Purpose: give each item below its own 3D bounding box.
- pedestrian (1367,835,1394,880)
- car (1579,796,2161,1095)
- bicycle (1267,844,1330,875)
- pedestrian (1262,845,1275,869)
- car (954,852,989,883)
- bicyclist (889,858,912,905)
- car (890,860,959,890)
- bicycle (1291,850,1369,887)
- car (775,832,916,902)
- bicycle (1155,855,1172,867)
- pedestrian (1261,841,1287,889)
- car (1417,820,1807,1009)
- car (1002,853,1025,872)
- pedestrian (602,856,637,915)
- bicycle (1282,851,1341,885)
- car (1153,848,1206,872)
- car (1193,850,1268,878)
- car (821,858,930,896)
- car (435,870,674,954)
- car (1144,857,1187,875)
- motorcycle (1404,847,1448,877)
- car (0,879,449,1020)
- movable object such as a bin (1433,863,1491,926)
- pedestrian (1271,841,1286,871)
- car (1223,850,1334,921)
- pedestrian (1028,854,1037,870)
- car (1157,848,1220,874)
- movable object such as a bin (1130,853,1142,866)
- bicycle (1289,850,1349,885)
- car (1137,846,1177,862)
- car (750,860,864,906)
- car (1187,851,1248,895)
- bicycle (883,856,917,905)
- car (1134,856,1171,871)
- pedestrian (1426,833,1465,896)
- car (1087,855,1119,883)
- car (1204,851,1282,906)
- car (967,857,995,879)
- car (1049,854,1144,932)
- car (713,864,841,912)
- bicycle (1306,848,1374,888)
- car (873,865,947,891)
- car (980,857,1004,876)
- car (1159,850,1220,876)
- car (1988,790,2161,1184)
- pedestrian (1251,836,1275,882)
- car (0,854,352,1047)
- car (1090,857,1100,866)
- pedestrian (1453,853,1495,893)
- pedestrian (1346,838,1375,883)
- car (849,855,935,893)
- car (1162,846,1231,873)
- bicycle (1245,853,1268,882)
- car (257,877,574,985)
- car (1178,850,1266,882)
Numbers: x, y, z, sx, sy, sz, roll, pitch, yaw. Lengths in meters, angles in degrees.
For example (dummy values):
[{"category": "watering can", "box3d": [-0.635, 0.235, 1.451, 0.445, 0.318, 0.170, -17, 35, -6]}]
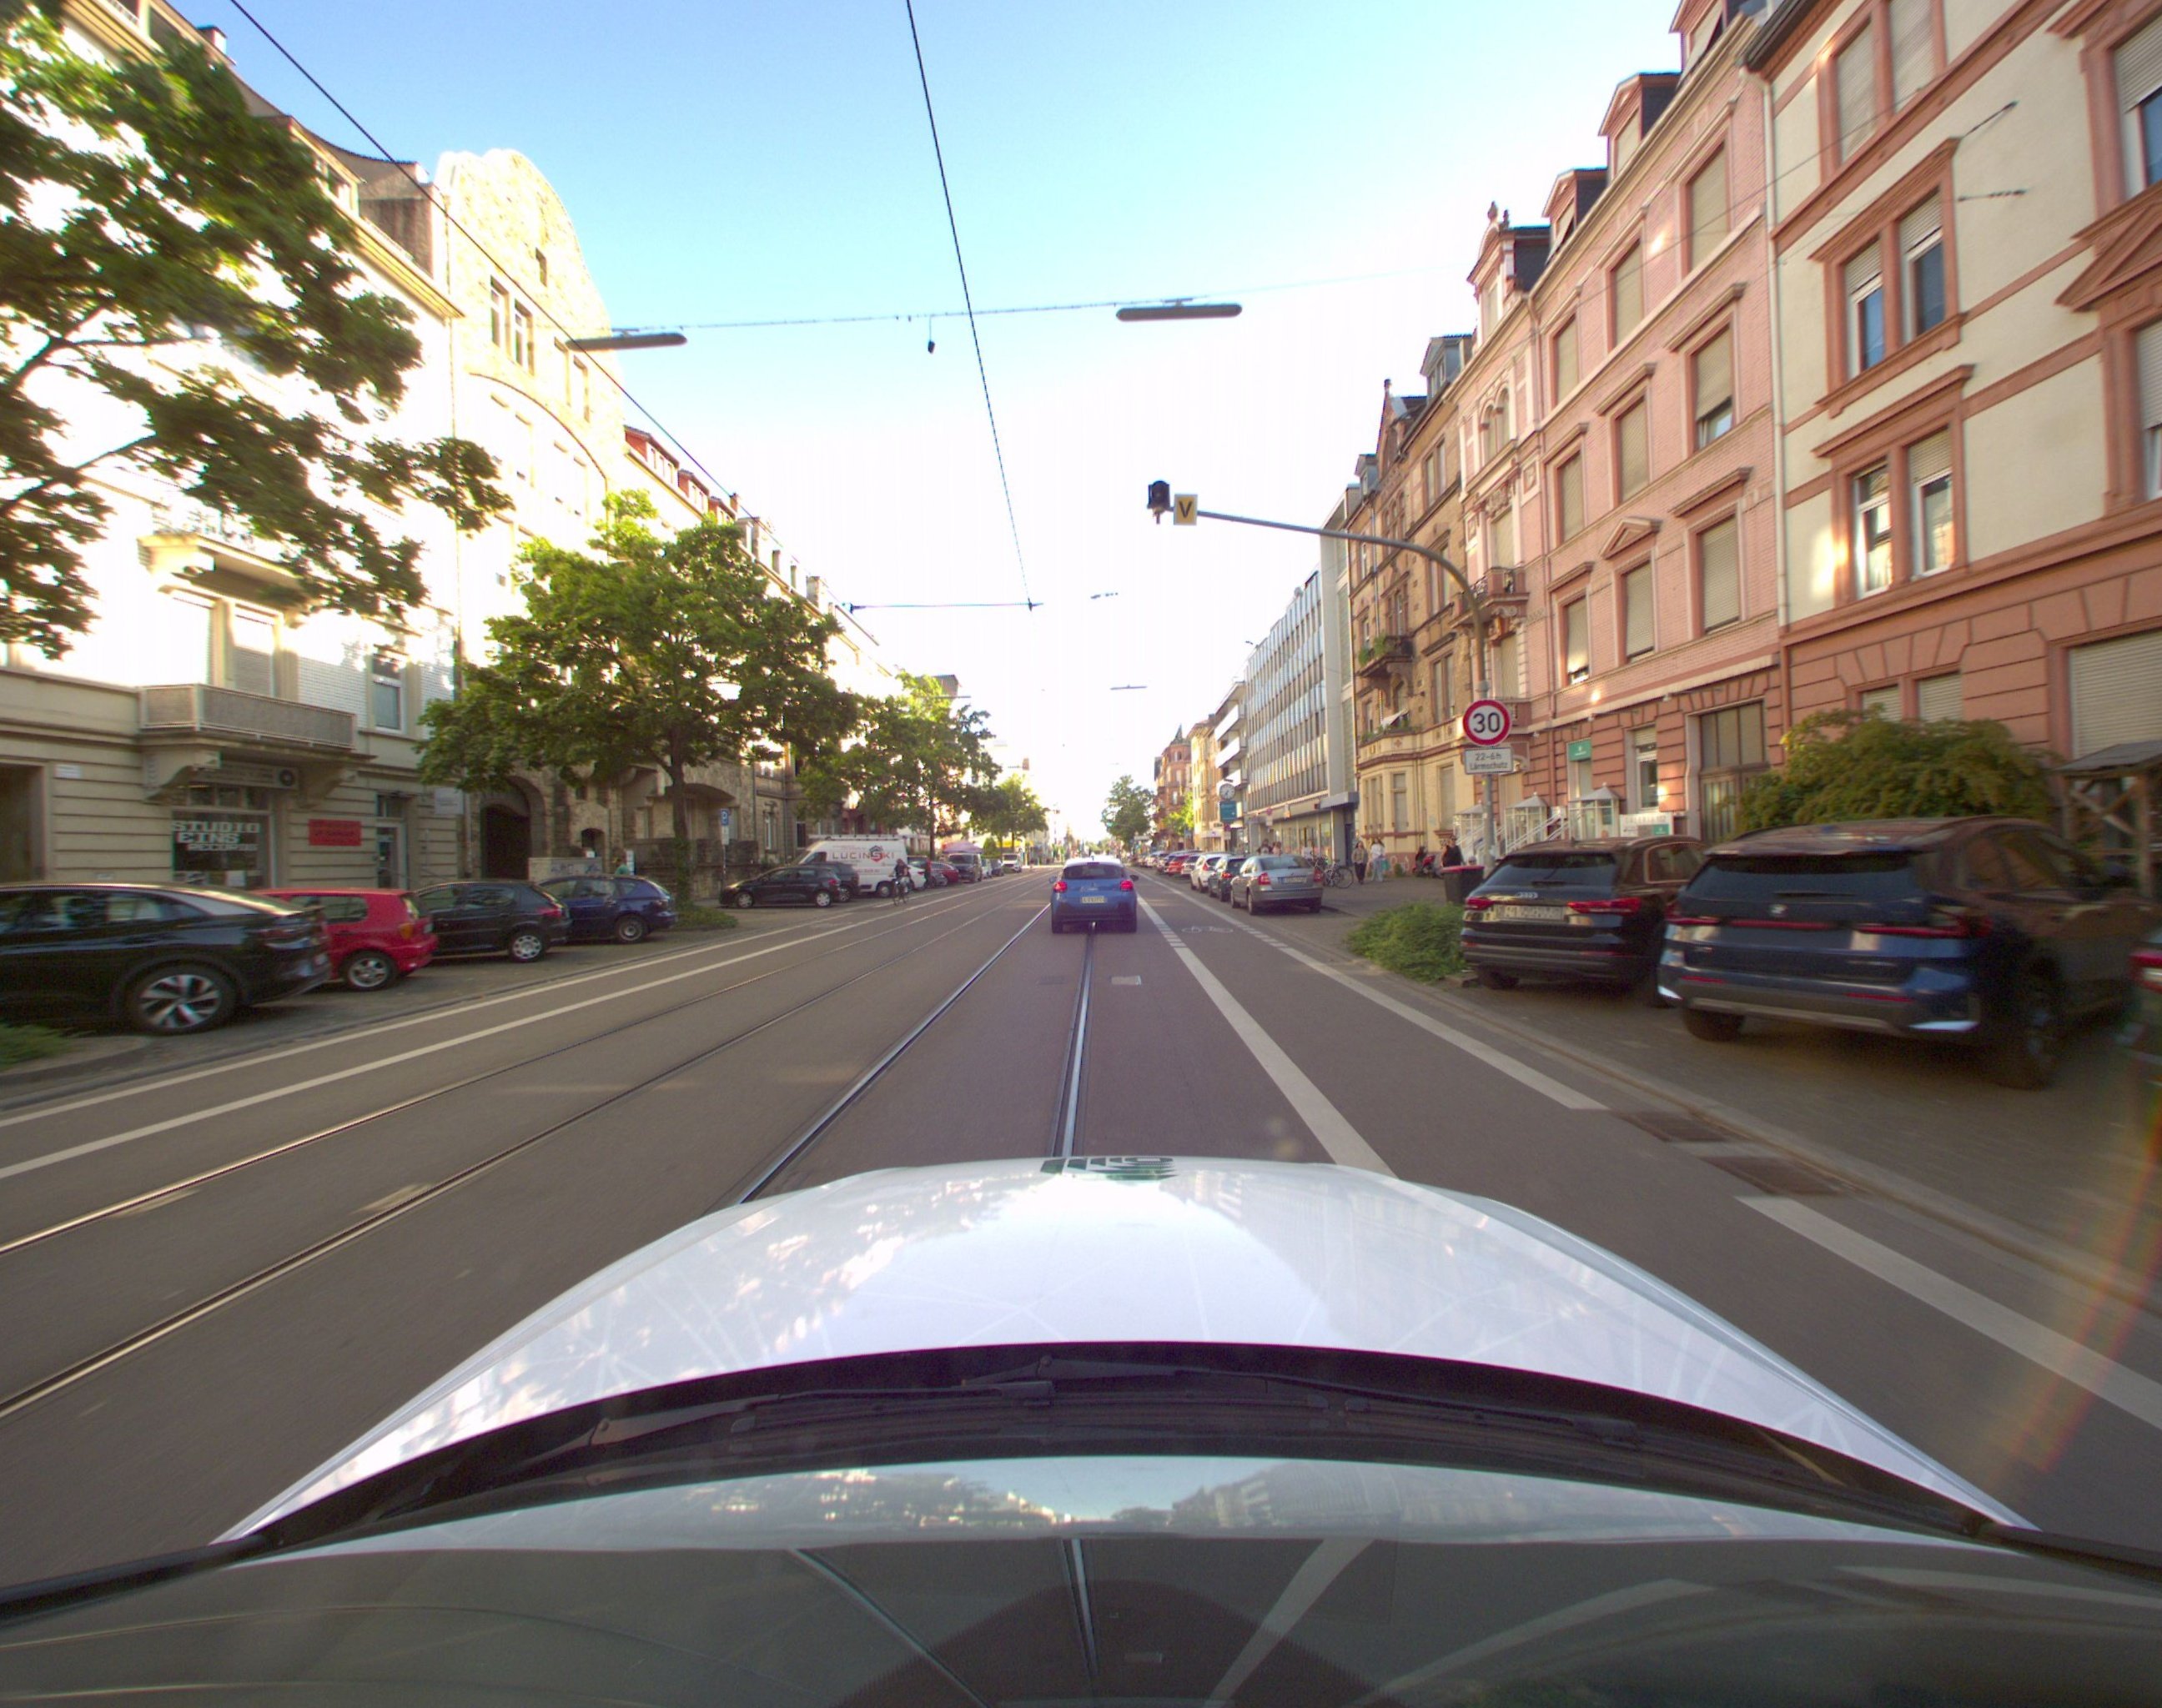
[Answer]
[{"category": "pedestrian", "box3d": [11.018, 0.133, 29.991, 0.709, 1.607, 0.654, -1, -1, 0]}, {"category": "car", "box3d": [6.081, 0.469, 6.104, 4.004, 1.596, 2.071, -1, -1, -23]}, {"category": "bicycle", "box3d": [8.771, 0.223, 32.846, 2.347, 1.221, 0.664, -1, -1, 4]}, {"category": "pedestrian", "box3d": [12.606, 0.200, 54.763, 0.690, 1.587, 0.678, -1, -1, 1]}, {"category": "car", "box3d": [-7.335, 0.887, 55.150, 1.742, 1.973, 5.237, -1, 0, -1]}, {"category": "bicyclist", "box3d": [-6.505, 0.980, 29.334, 0.632, 1.681, 0.727, -1, -1, 1]}, {"category": "car", "box3d": [-9.307, 1.240, 48.385, 3.736, 1.622, 1.777, -1, -1, -20]}, {"category": "bicycle", "box3d": [8.717, 0.497, 28.587, 2.529, 1.221, 0.664, -1, -1, 0]}, {"category": "car", "box3d": [-9.817, 0.495, 34.146, 5.402, 2.749, 1.789, -1, -1, -29]}, {"category": "bicycle", "box3d": [7.437, 0.658, 73.437, 0.557, 1.047, 1.789, -1, -1, -34]}, {"category": "pedestrian", "box3d": [6.665, 0.371, 28.129, 0.709, 1.607, 0.654, -1, -1, 0]}, {"category": "car", "box3d": [5.888, 0.499, 8.908, 4.333, 1.596, 1.962, -1, -1, -33]}, {"category": "car", "box3d": [-6.884, 0.900, 83.128, 1.825, 1.848, 4.215, -1, 0, 2]}, {"category": "pedestrian", "box3d": [-13.603, 0.916, 24.030, 0.575, 1.726, 0.762, -1, -1, 1]}, {"category": "bicycle", "box3d": [8.680, 0.513, 30.736, 2.012, 1.221, 0.664, -1, -1, 0]}, {"category": "car", "box3d": [7.000, 0.443, 57.710, 3.467, 1.640, 1.666, -1, -1, -35]}, {"category": "car", "box3d": [8.311, 0.545, 45.269, 3.796, 1.487, 1.822, -1, -1, -28]}, {"category": "car", "box3d": [-9.797, 1.074, 39.019, 4.787, 1.618, 1.695, -1, -1, -31]}, {"category": "car", "box3d": [-10.835, 1.132, 17.132, 4.008, 1.489, 1.790, -1, -1, -27]}, {"category": "car", "box3d": [8.051, 1.137, 77.534, 3.674, 1.574, 1.844, -1, -1, -27]}, {"category": "motorcycle", "box3d": [12.347, 0.285, 29.195, 0.505, 0.991, 2.519, -5, -1, 2]}, {"category": "car", "box3d": [-11.378, 1.158, 11.202, 4.013, 1.489, 1.849, -1, -1, -31]}, {"category": "movable object such as a bin", "box3d": [6.508, 0.678, 13.949, 0.602, 1.027, 0.806, -2, -1, 1]}, {"category": "pedestrian", "box3d": [11.633, 0.131, 48.011, 0.690, 1.756, 0.678, -1, -1, 1]}, {"category": "car", "box3d": [4.962, 0.743, 21.159, 1.866, 1.596, 4.721, -1, 0, 2]}, {"category": "pedestrian", "box3d": [-5.213, 0.857, 87.544, 0.732, 1.726, 0.623, -1, -1, -23]}, {"category": "car", "box3d": [7.247, 0.469, 54.941, 3.743, 1.652, 2.027, -1, -1, -32]}, {"category": "movable object such as a bin", "box3d": [6.703, 0.681, 99.469, 1.389, 1.483, 1.656, -1, -1, 1]}, {"category": "bicycle", "box3d": [8.682, 0.506, 29.759, 2.012, 1.221, 0.664, -1, -1, 0]}, {"category": "car", "box3d": [7.821, 0.034, 83.580, 3.664, 1.574, 1.849, -1, -1, -18]}, {"category": "car", "box3d": [-10.482, 1.068, 31.172, 4.006, 1.618, 1.699, -1, -1, -24]}, {"category": "car", "box3d": [5.316, 0.728, 32.207, 1.866, 1.596, 4.002, -1, 0, 2]}, {"category": "bicycle", "box3d": [-6.519, 0.932, 29.409, 0.678, 1.678, 2.097, -1, -1, 2]}, {"category": "car", "box3d": [7.947, 1.041, 90.155, 3.664, 1.534, 1.778, -1, -1, -18]}, {"category": "pedestrian", "box3d": [9.528, 0.261, 21.300, 0.709, 1.607, 0.654, -1, -1, 0]}, {"category": "car", "box3d": [1.353, 0.885, 49.983, 1.866, 1.596, 4.002, -1, 0, 2]}, {"category": "car", "box3d": [5.177, 0.755, 26.542, 1.866, 1.596, 4.002, -1, 0, 2]}, {"category": "car", "box3d": [-7.837, 1.103, 64.121, 1.742, 1.618, 4.408, -1, 0, -2]}, {"category": "car", "box3d": [0.336, 0.742, 17.190, 1.756, 1.441, 3.557, -1, 0, 1]}, {"category": "car", "box3d": [-10.535, 1.143, 28.498, 3.994, 1.489, 1.797, -1, -1, -15]}, {"category": "bicycle", "box3d": [8.673, 0.467, 27.305, 2.050, 1.221, 0.663, -2, -1, -1]}, {"category": "car", "box3d": [-9.434, 1.298, 44.956, 3.815, 1.265, 1.504, -1, -1, -24]}, {"category": "car", "box3d": [-7.597, 1.061, 69.880, 1.742, 1.487, 4.039, -1, 0, -2]}, {"category": "car", "box3d": [6.891, 0.567, 51.826, 3.463, 1.555, 1.806, -1, -1, -30]}, {"category": "car", "box3d": [6.399, 0.498, 3.641, 4.004, 1.596, 1.944, -1, -1, -23]}, {"category": "pedestrian", "box3d": [6.649, 0.187, 29.778, 0.709, 1.671, 0.654, -1, -1, 0]}, {"category": "car", "box3d": [-10.752, 0.939, 8.486, 4.381, 1.783, 1.976, -1, -1, -31]}, {"category": "car", "box3d": [2.193, 1.154, 128.179, 1.417, 1.432, 3.140, -1, 0, 2]}, {"category": "pedestrian", "box3d": [10.308, 0.502, 21.380, 0.709, 0.980, 0.654, -5, -1, 0]}, {"category": "pedestrian", "box3d": [10.263, 0.239, 29.911, 0.709, 1.607, 0.654, -4, -1, 0]}, {"category": "car", "box3d": [-9.644, 1.003, 41.613, 4.006, 1.817, 1.699, -1, -1, -24]}, {"category": "car", "box3d": [6.994, 0.316, 49.221, 3.743, 1.521, 1.949, -1, -1, -32]}, {"category": "bicycle", "box3d": [7.350, 0.549, 34.066, 0.690, 1.185, 1.239, -1, -1, 1]}, {"category": "car", "box3d": [-11.198, 1.217, 14.127, 4.013, 1.489, 1.788, -1, -1, -31]}, {"category": "car", "box3d": [7.266, 0.616, 41.921, 4.465, 1.508, 1.522, -1, -1, -28]}]
